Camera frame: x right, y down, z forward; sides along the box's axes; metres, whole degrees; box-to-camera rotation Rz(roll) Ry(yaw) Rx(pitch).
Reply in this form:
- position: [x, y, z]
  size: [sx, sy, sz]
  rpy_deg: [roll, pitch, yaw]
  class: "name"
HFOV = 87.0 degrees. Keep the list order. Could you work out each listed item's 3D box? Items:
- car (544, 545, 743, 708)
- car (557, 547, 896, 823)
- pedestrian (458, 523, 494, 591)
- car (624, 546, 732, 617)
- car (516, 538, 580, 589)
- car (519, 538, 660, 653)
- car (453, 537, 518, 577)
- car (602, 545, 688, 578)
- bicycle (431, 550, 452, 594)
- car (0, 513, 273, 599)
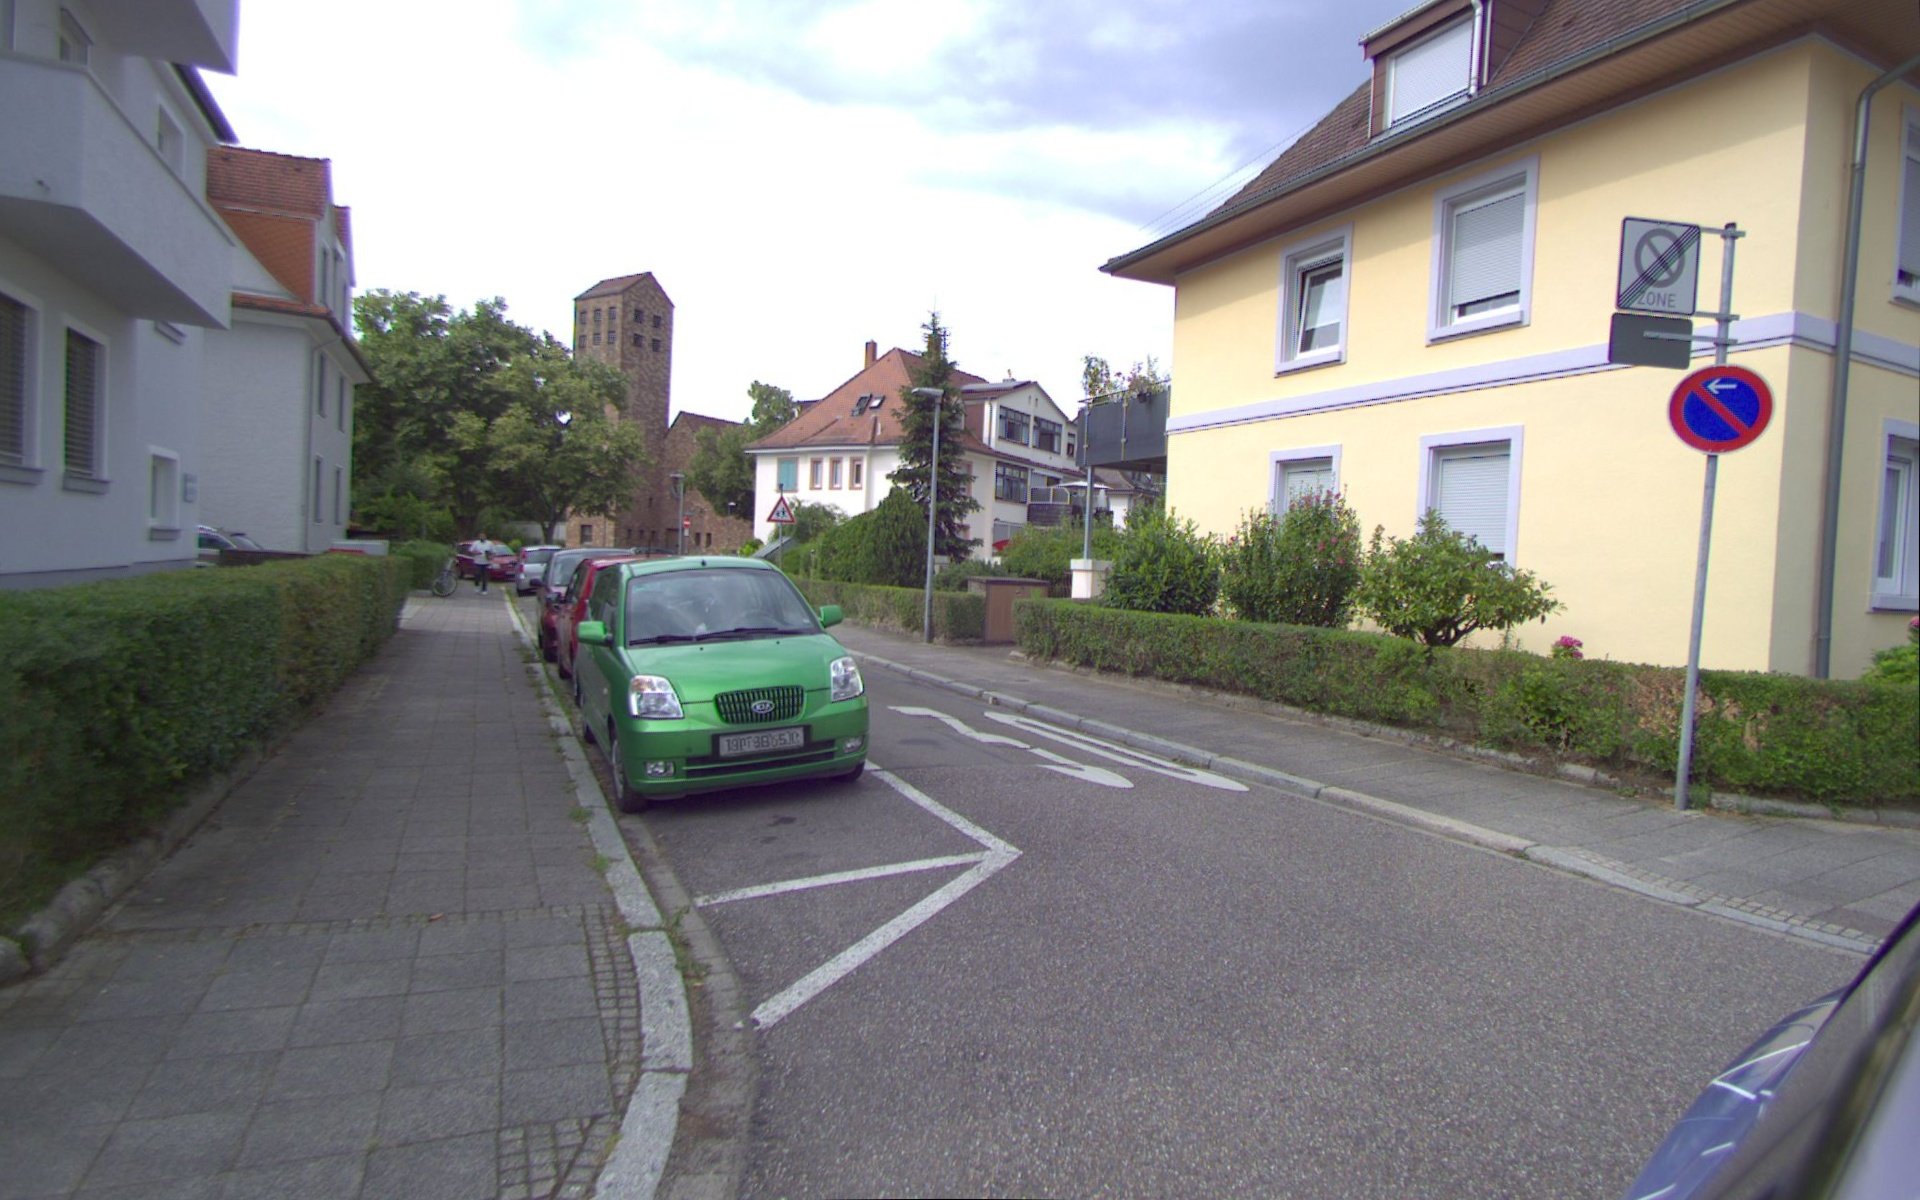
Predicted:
- position: [-3.709, 0.148, 11.494]
  size: [1.617, 1.513, 3.488]
  rpy_deg: [-2, 4, -26]
  class: "car"
- position: [-1.885, 0.356, 7.312]
  size: [1.617, 1.439, 3.488]
  rpy_deg: [-2, 4, -26]
  class: "car"
- position: [-14.059, -1.245, 29.424]
  size: [0.866, 1.901, 1.081]
  rpy_deg: [2, 2, -25]
  class: "pedestrian"
- position: [-7.129, -0.507, 25.285]
  size: [1.816, 1.499, 4.050]
  rpy_deg: [4, 1, -26]
  class: "car"
- position: [-13.222, -1.218, 32.360]
  size: [1.617, 1.513, 3.488]
  rpy_deg: [-2, 4, -26]
  class: "car"
- position: [-5.704, -0.174, 15.349]
  size: [1.617, 1.513, 3.488]
  rpy_deg: [-2, 4, -26]
  class: "car"
- position: [-18.744, -1.729, 39.908]
  size: [1.621, 1.513, 3.481]
  rpy_deg: [-3, 4, -36]
  class: "car"
- position: [-16.876, -2.059, 54.189]
  size: [4.140, 1.481, 1.688]
  rpy_deg: [2, 3, -26]
  class: "car"
- position: [-14.229, -0.785, 27.763]
  size: [0.415, 1.117, 2.118]
  rpy_deg: [2, 2, -29]
  class: "bicycle"
- position: [-16.309, -0.857, 20.262]
  size: [3.917, 1.482, 2.004]
  rpy_deg: [2, 2, -25]
  class: "car"
